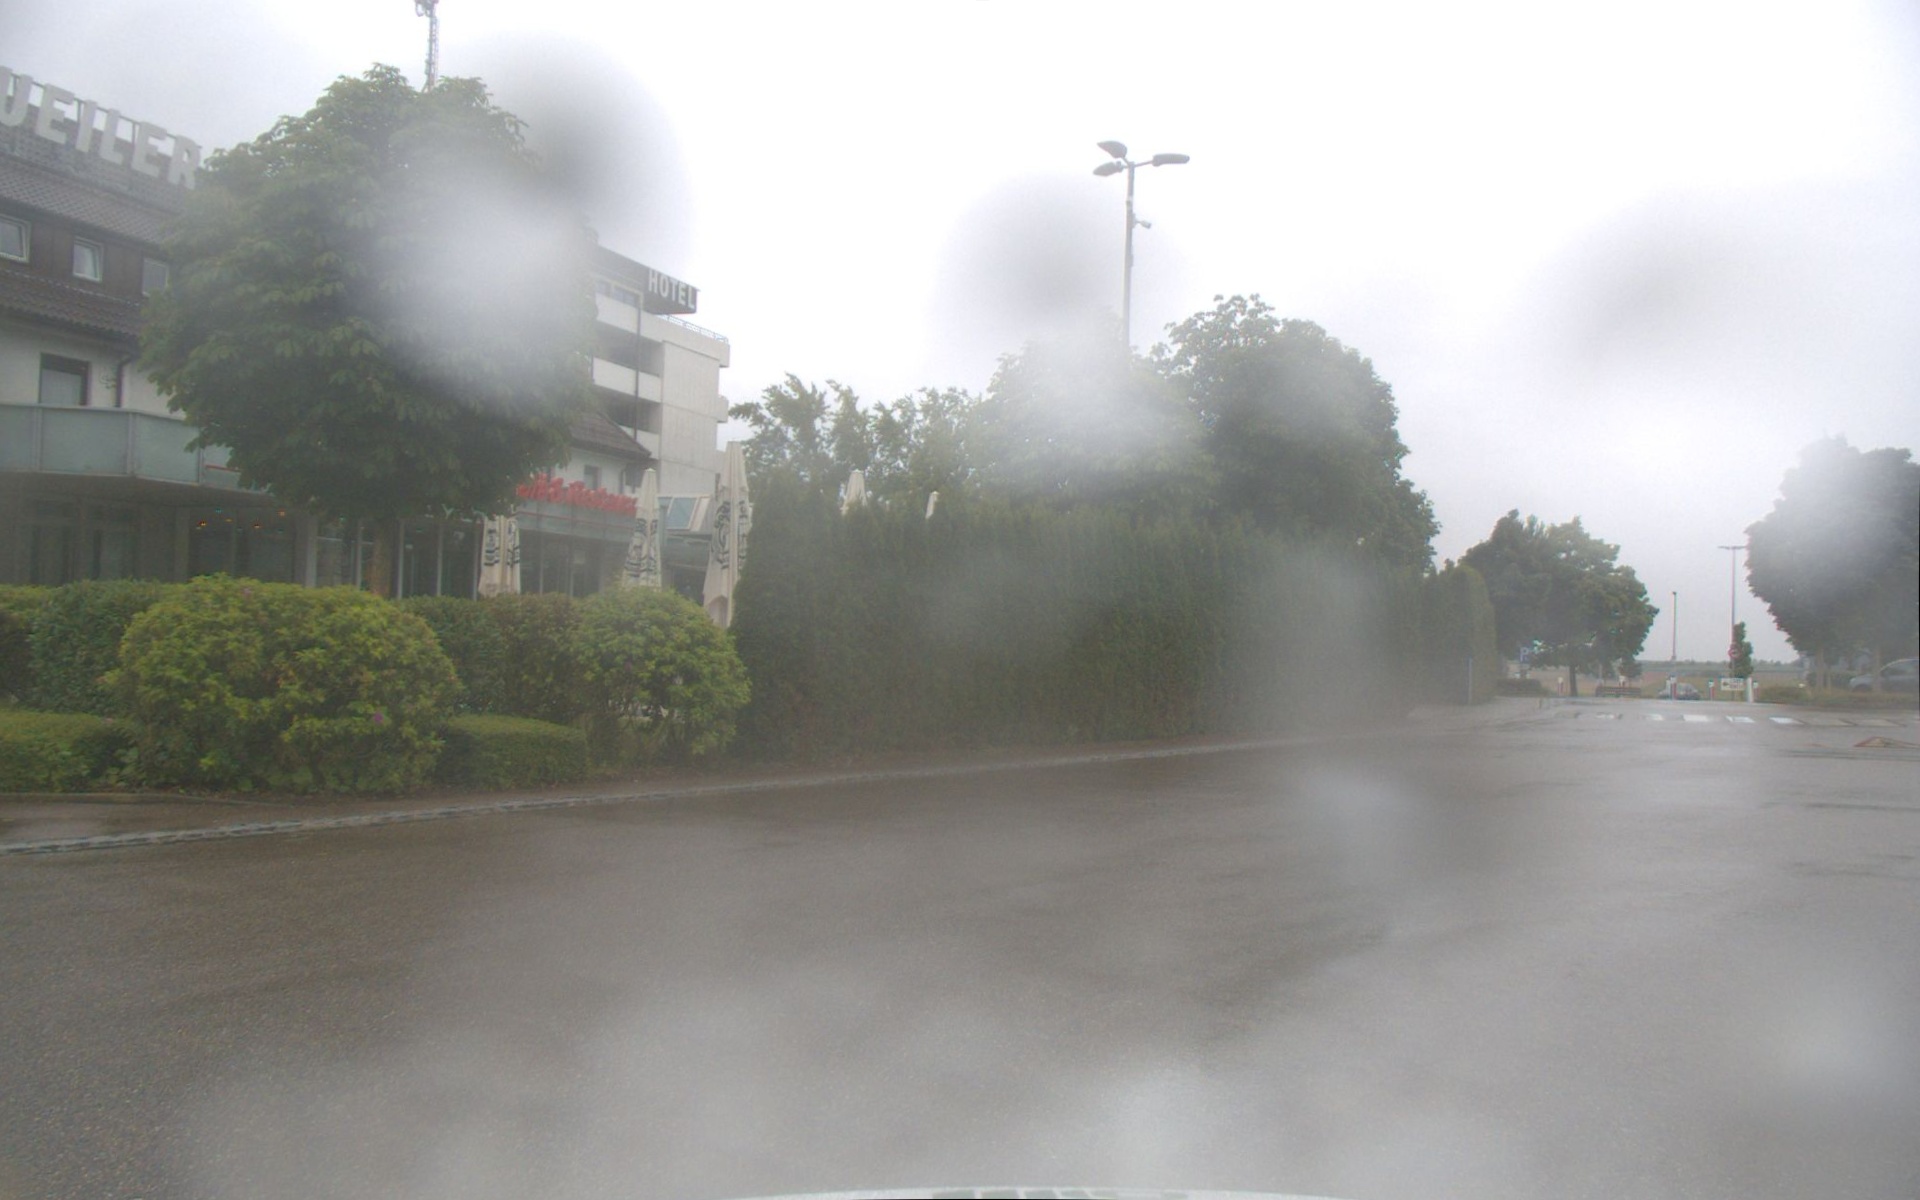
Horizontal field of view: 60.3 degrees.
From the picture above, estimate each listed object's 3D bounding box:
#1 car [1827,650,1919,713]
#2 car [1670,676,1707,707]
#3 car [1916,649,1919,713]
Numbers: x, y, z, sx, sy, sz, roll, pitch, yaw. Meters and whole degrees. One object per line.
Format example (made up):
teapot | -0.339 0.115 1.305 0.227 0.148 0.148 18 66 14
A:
car | 27.154 2.335 47.381 1.691 1.746 3.999 4 -3 -21
car | 52.069 6.545 118.254 1.674 2.049 3.986 1 -3 34
car | 30.274 2.415 47.929 1.691 1.895 4.339 4 -3 -21
